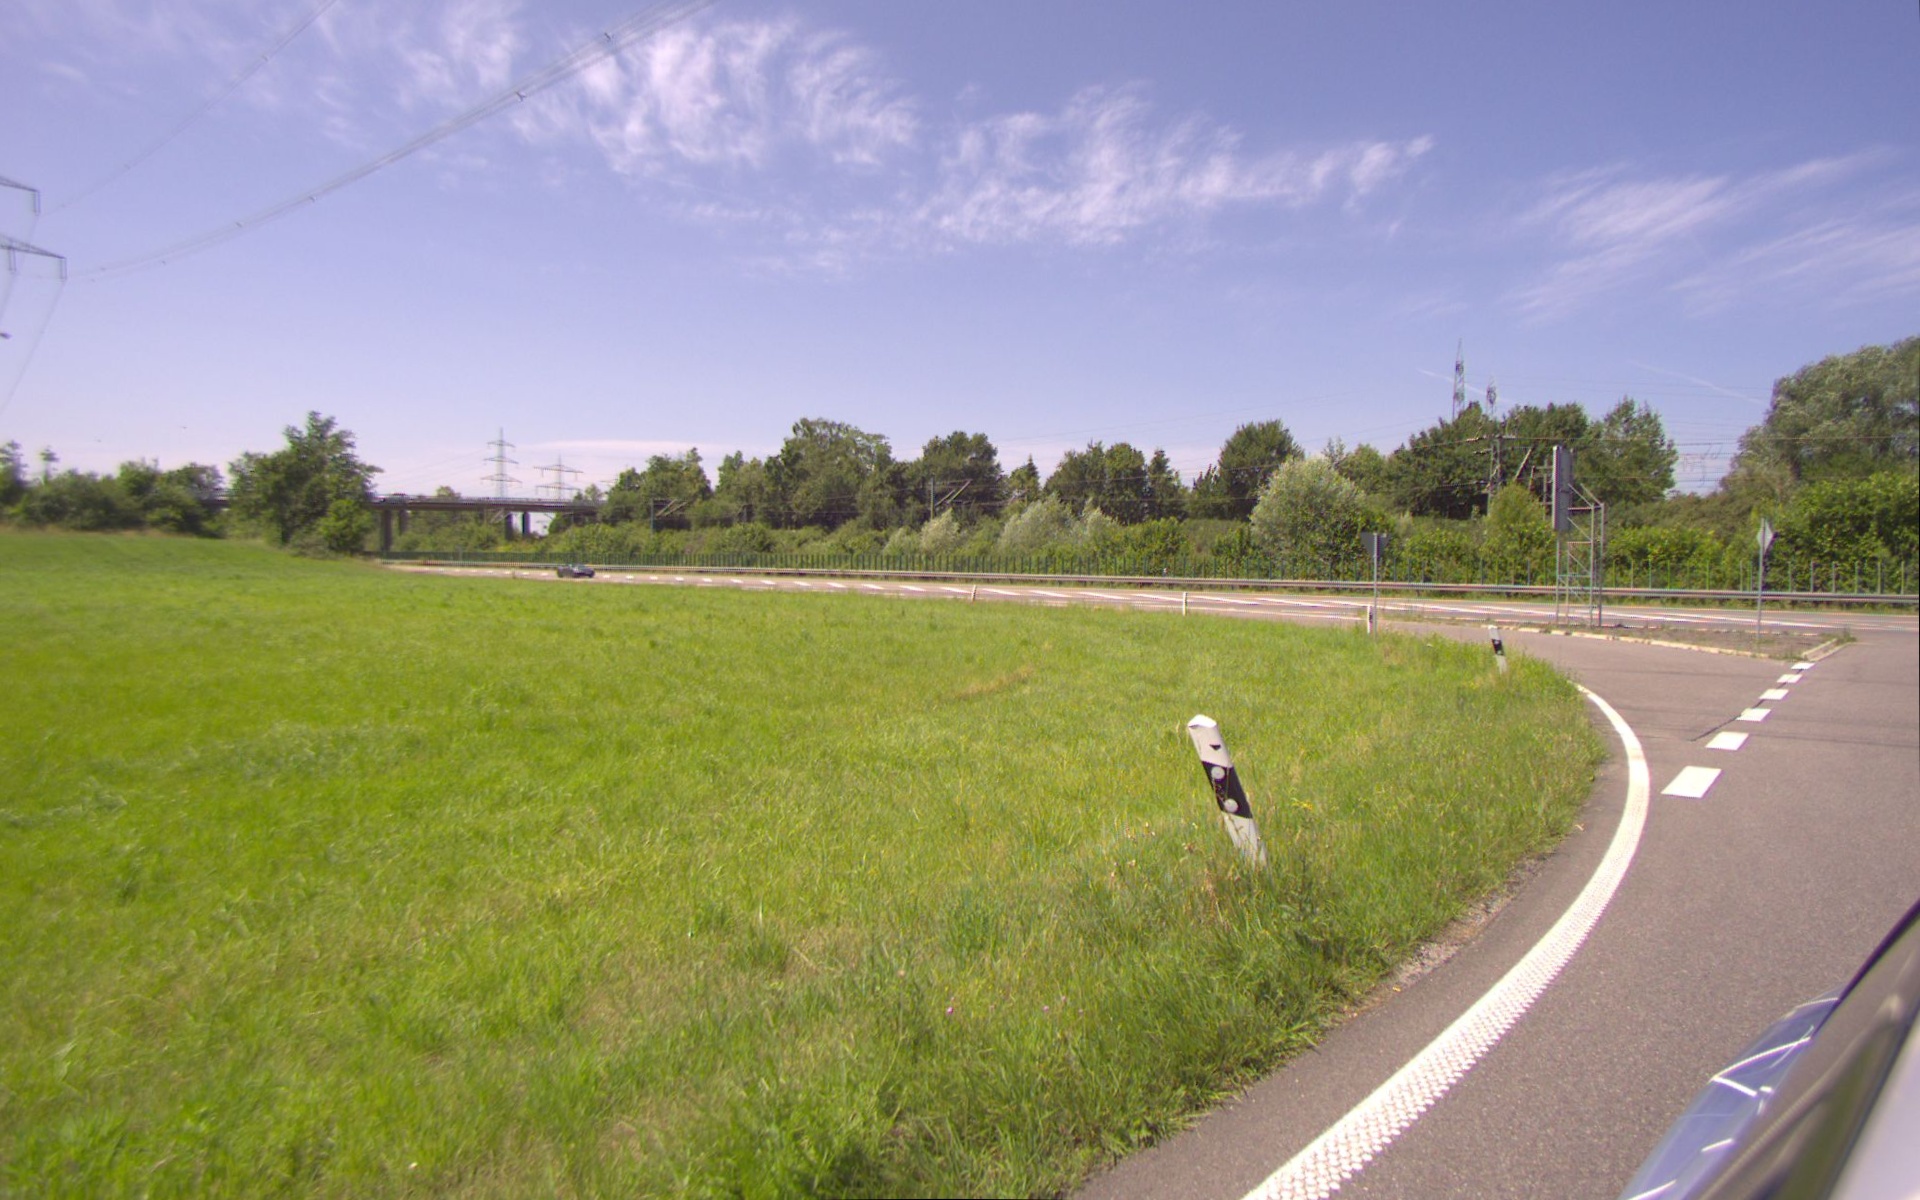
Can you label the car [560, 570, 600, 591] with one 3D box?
[{"bbox_3d":[-32.762,-1.703,87.111,3.988,1.745,1.698,3,3,44],"label":"car"}]
